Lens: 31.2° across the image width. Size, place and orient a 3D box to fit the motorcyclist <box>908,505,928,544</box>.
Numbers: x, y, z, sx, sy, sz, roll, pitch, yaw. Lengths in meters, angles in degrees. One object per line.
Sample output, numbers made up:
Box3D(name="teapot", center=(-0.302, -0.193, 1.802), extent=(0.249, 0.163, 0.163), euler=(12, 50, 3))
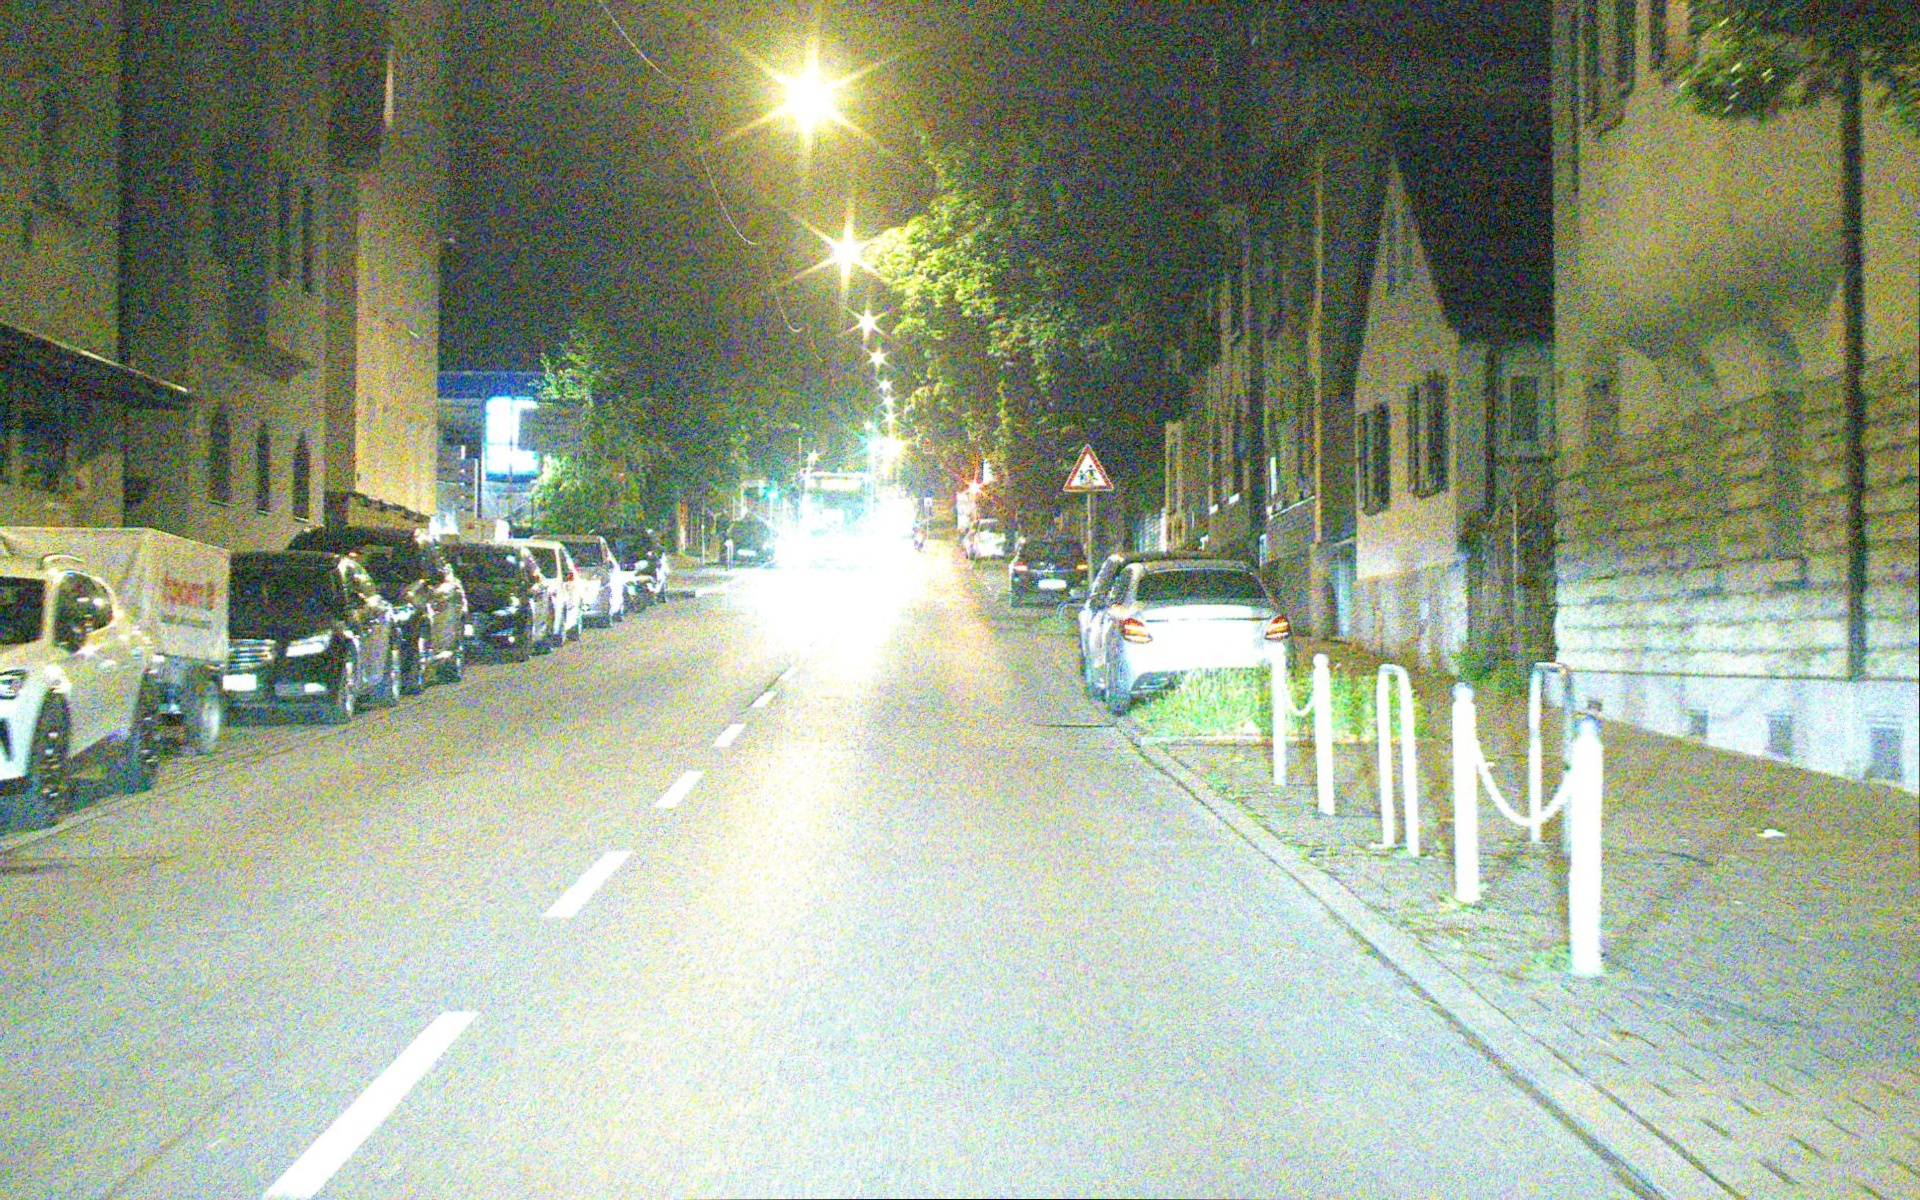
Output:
Box3D(name="motorcyclist", center=(-1.926, -3.433, 156.550), extent=(0.848, 1.746, 0.805), euler=(1, 1, 0))

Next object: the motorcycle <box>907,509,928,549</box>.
Box3D(name="motorcycle", center=(-1.925, -3.227, 156.290), extent=(0.931, 1.746, 2.625), euler=(1, 1, -1))

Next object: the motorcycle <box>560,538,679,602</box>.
Box3D(name="motorcycle", center=(-6.261, -0.565, 63.195), extent=(2.206, 1.127, 0.714), euler=(1, 2, 33))

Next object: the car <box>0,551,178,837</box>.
Box3D(name="car", center=(-5.978, 0.465, 20.426), extent=(1.814, 1.479, 4.348), euler=(1, 1, -2))

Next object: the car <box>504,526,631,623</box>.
Box3D(name="car", center=(-6.466, -0.450, 56.933), extent=(1.704, 1.486, 4.228), euler=(-1, 2, -2))

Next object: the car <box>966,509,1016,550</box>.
Box3D(name="car", center=(1.192, -2.782, 134.591), extent=(1.868, 1.521, 4.150), euler=(-1, 2, -1))

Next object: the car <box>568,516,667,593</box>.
Box3D(name="car", center=(-6.810, -0.913, 68.599), extent=(1.638, 1.493, 2.765), euler=(1, 1, 1))

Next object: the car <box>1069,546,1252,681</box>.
Box3D(name="car", center=(2.238, 0.114, 39.327), extent=(1.771, 1.443, 4.020), euler=(0, 1, -1))

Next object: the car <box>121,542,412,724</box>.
Box3D(name="car", center=(-6.138, 0.238, 30.892), extent=(1.835, 1.442, 4.545), euler=(0, 2, -2))

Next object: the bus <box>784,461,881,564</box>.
Box3D(name="bus", center=(-4.141, -2.916, 113.296), extent=(2.837, 3.166, 10.499), euler=(1, 2, -1))

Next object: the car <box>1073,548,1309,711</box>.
Box3D(name="car", center=(2.191, 0.238, 33.747), extent=(1.845, 1.412, 4.646), euler=(-2, 1, -1))

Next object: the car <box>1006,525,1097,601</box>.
Box3D(name="car", center=(1.897, -0.802, 72.213), extent=(1.763, 1.471, 4.081), euler=(-1, 2, 0))

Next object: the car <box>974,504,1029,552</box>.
Box3D(name="car", center=(1.429, -2.544, 121.034), extent=(1.812, 1.588, 4.274), euler=(-1, 2, -1))

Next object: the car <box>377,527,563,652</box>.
Box3D(name="car", center=(-6.262, -0.155, 44.375), extent=(1.863, 1.486, 4.281), euler=(1, 1, -2))

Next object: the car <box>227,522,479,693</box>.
Box3D(name="car", center=(-6.286, 0.023, 36.058), extent=(1.835, 1.613, 4.545), euler=(1, 1, 0))

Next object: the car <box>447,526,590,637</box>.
Box3D(name="car", center=(-6.275, -0.277, 49.196), extent=(1.621, 1.486, 3.781), euler=(1, 1, -2))

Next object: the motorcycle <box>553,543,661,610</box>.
Box3D(name="motorcycle", center=(-6.289, -0.426, 61.179), extent=(0.714, 1.143, 2.208), euler=(-2, 3, -43))

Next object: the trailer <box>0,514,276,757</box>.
Box3D(name="trailer", center=(-6.298, 0.213, 25.207), extent=(1.638, 1.634, 3.439), euler=(1, 1, 4))
